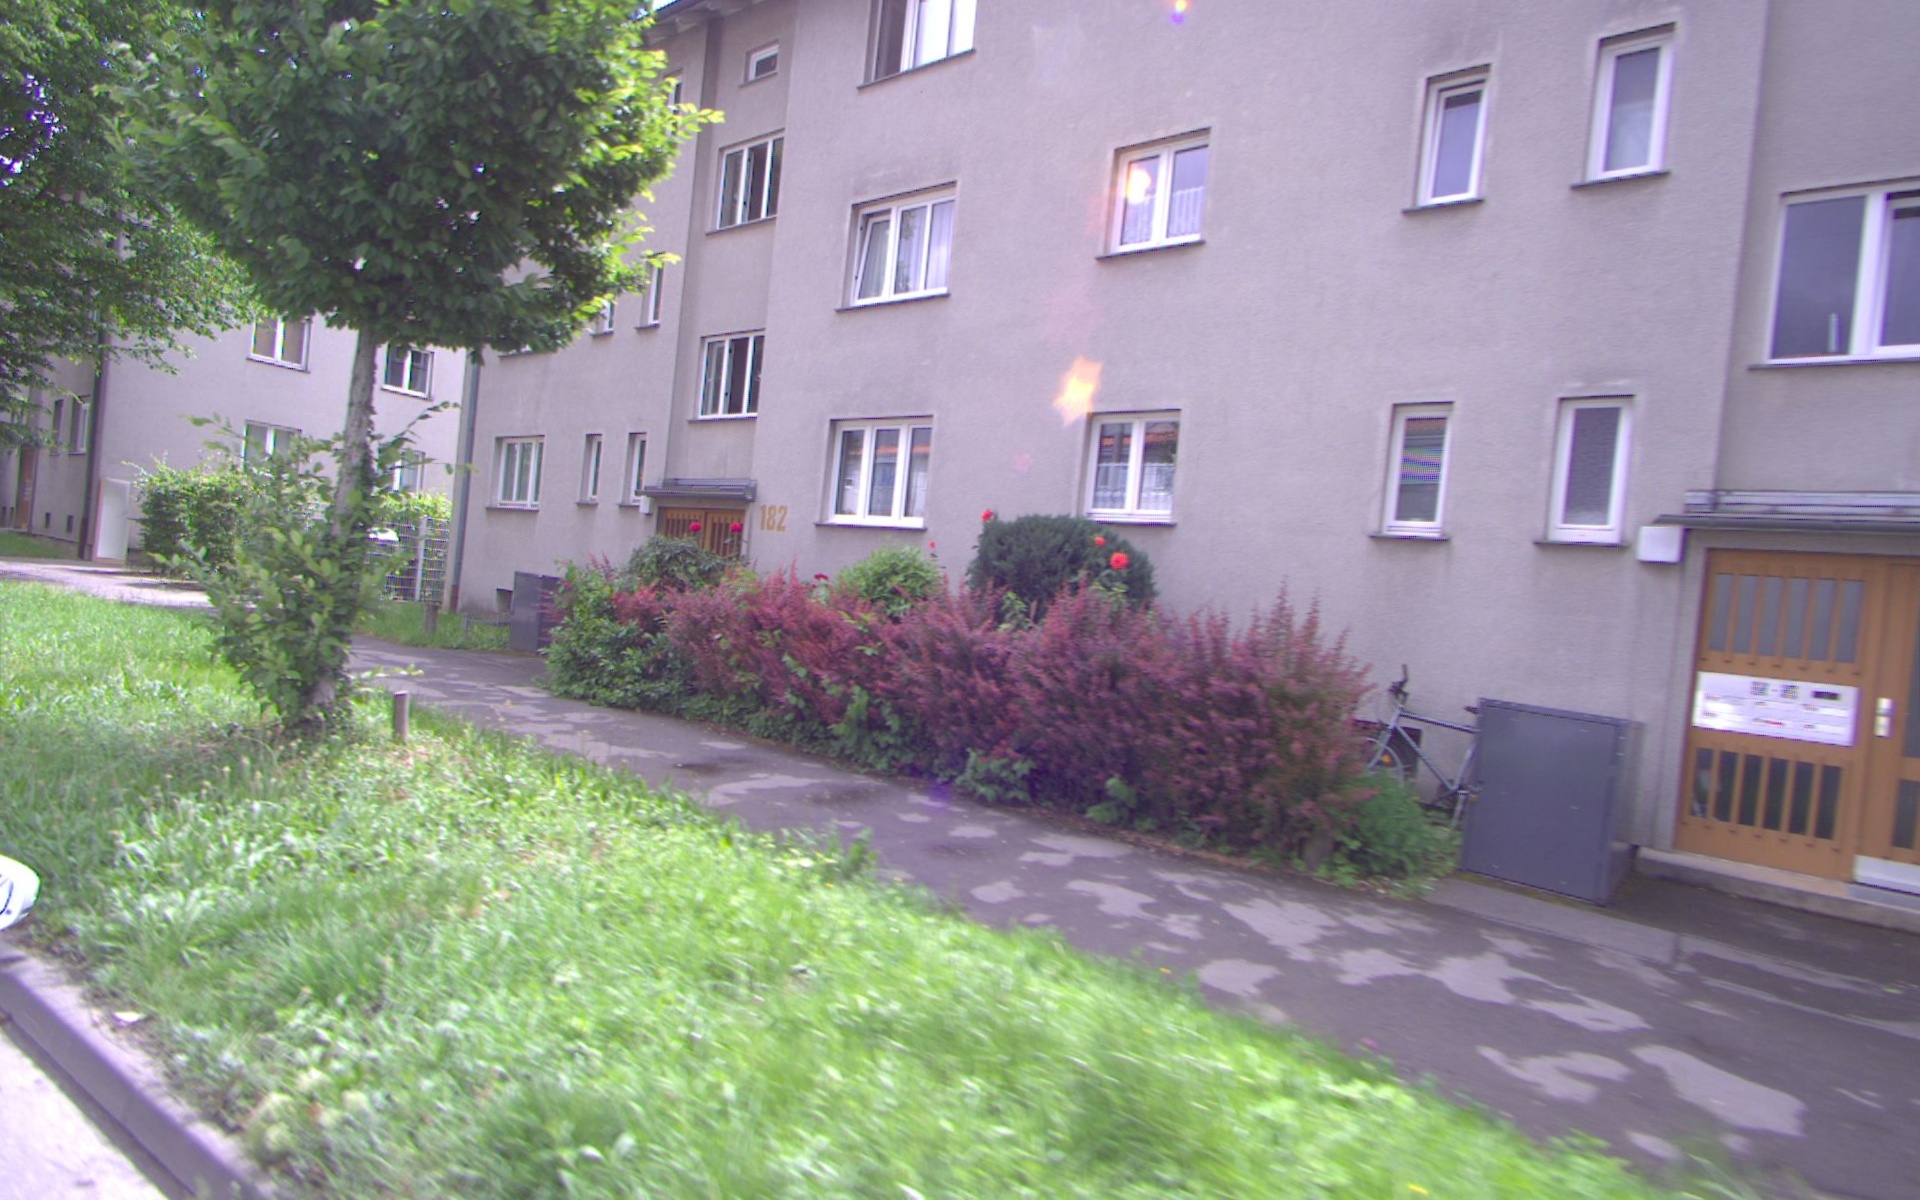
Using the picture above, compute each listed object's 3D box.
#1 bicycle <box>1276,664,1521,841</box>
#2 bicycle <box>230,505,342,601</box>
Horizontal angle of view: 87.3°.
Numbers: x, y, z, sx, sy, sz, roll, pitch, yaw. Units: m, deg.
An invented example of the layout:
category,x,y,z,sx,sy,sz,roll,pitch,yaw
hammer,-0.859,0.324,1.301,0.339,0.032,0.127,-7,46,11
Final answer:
category,x,y,z,sx,sy,sz,roll,pitch,yaw
bicycle,3.318,1.113,7.701,1.548,1.046,0.478,7,2,39
bicycle,-12.649,-0.877,18.901,1.055,1.594,1.347,7,1,35
